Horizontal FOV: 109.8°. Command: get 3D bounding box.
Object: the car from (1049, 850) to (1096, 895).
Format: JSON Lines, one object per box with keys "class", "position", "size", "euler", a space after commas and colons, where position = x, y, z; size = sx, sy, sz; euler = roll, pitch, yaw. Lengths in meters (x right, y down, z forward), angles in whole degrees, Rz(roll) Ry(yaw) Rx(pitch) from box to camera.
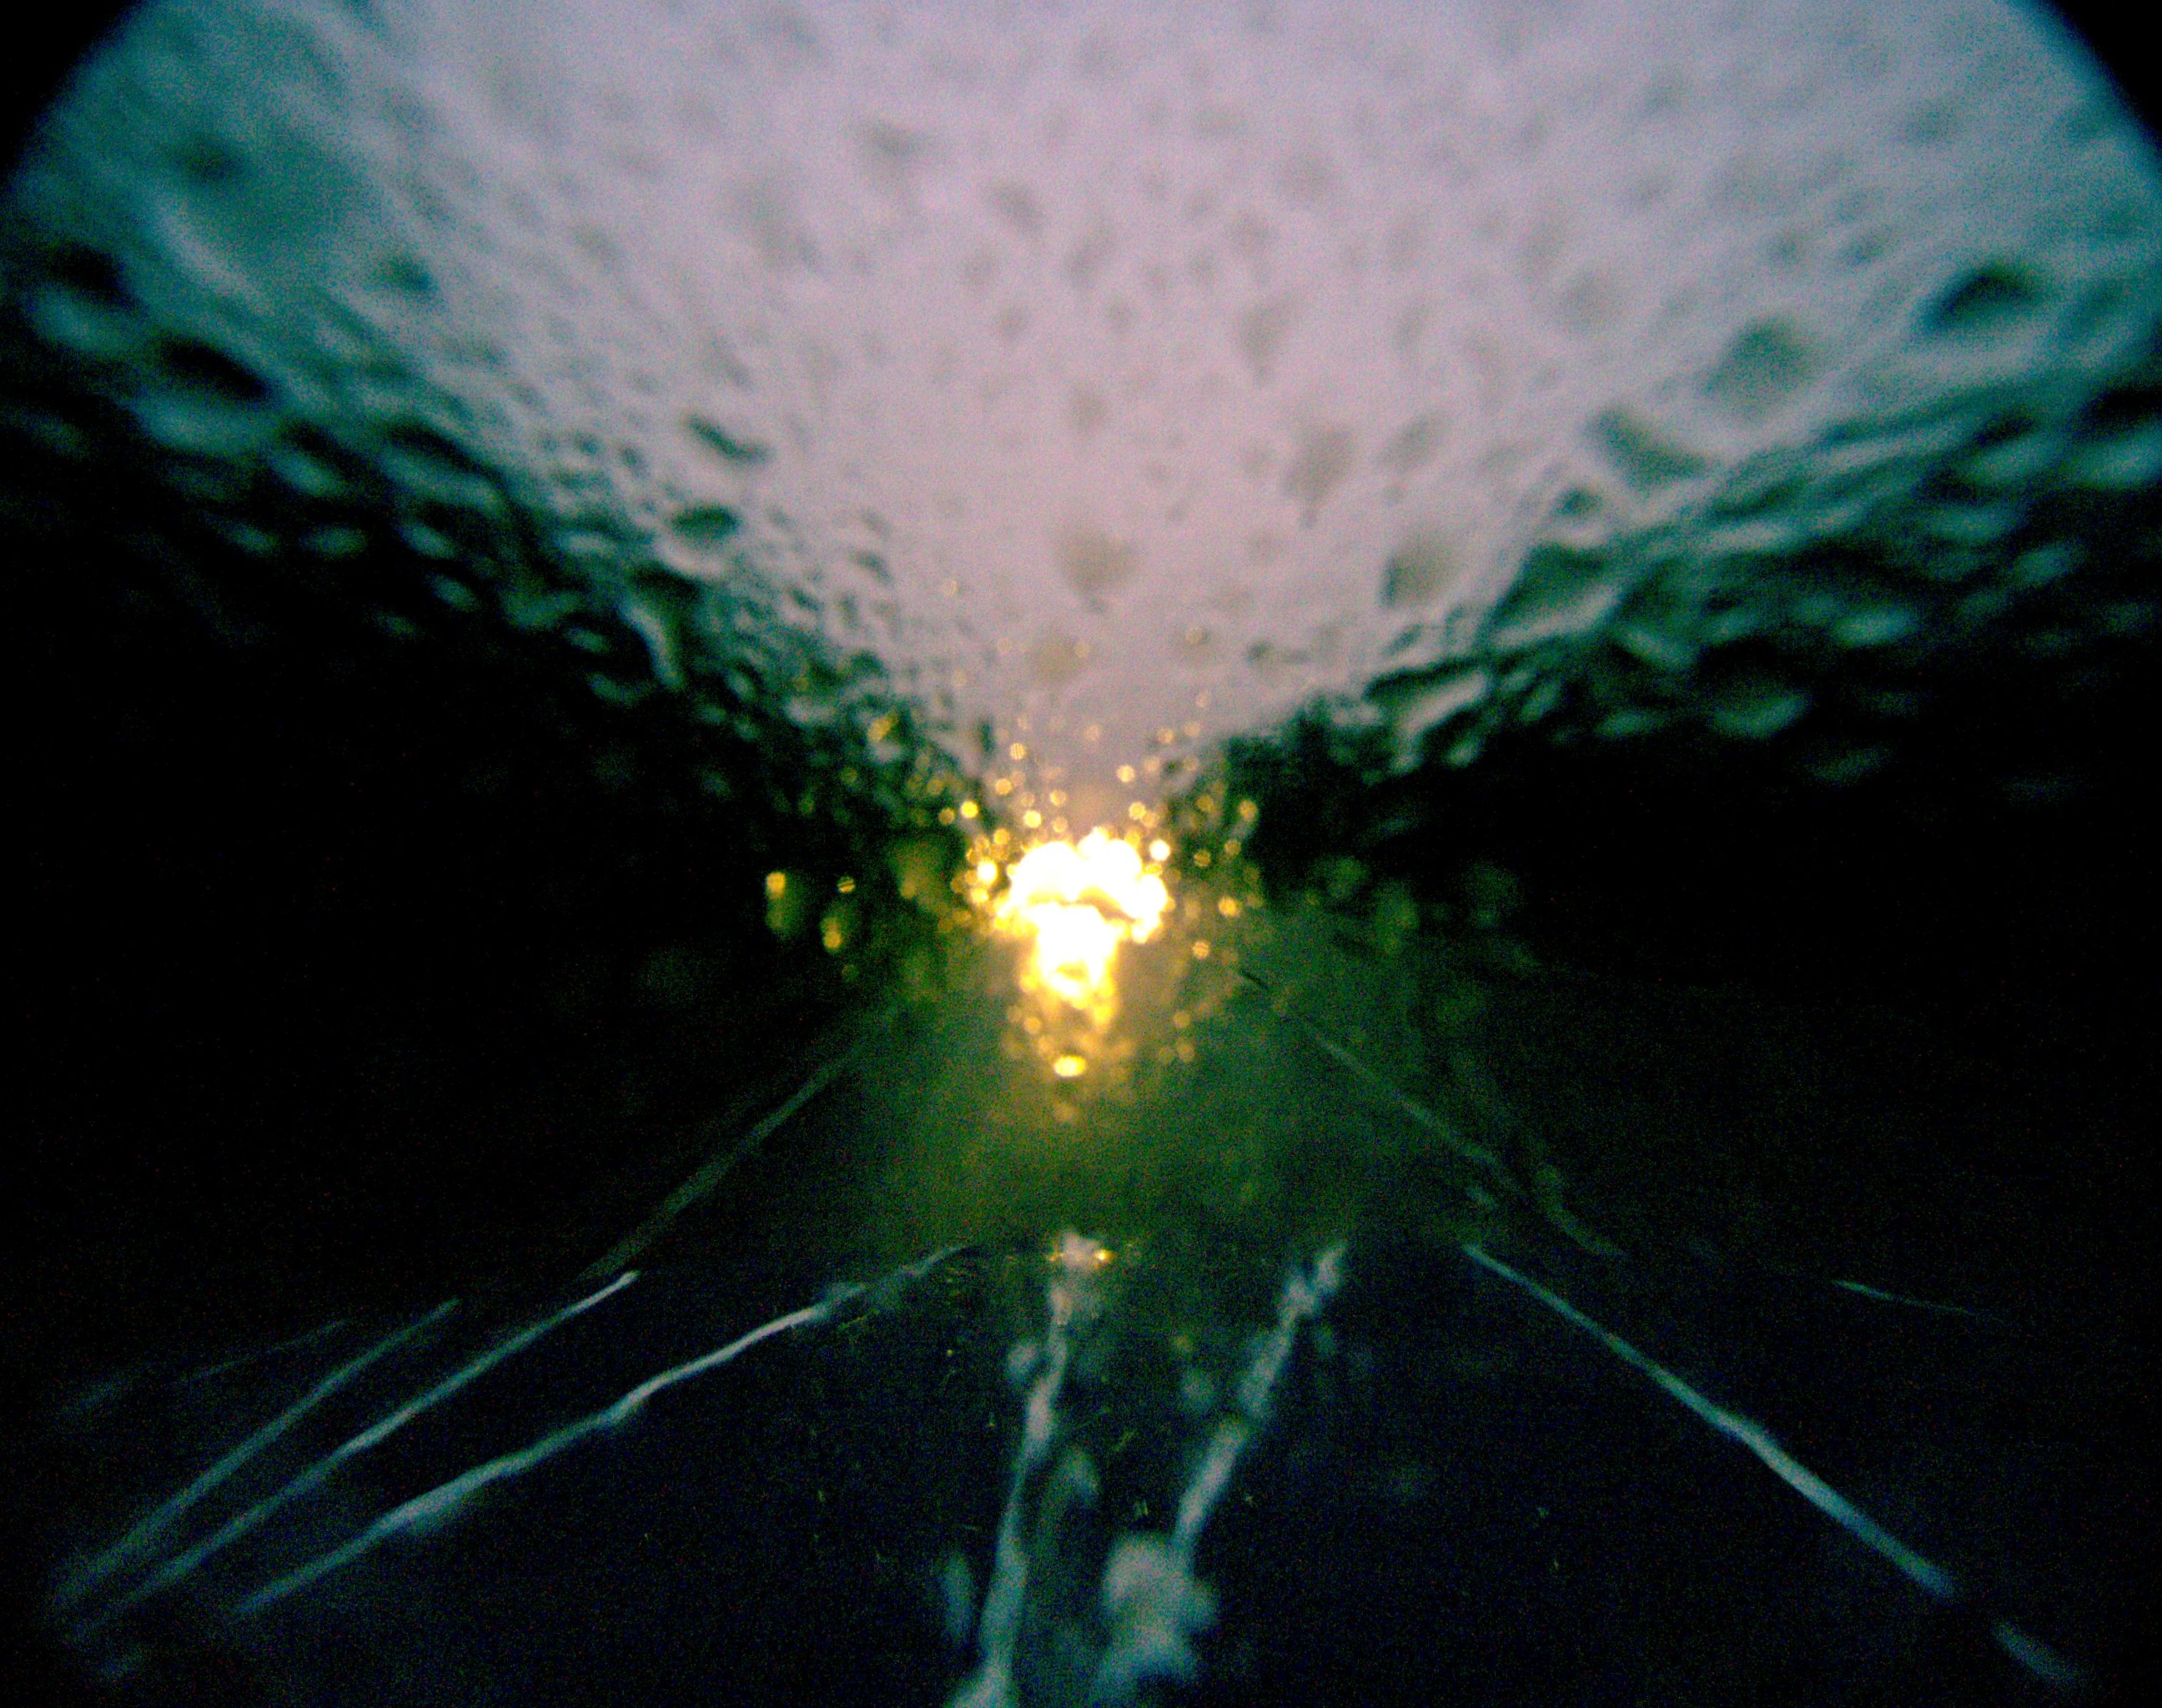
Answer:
{"class": "car", "position": [-0.273, 0.705, 30.838], "size": [1.573, 1.701, 4.001], "euler": [-1, 0, 4]}
